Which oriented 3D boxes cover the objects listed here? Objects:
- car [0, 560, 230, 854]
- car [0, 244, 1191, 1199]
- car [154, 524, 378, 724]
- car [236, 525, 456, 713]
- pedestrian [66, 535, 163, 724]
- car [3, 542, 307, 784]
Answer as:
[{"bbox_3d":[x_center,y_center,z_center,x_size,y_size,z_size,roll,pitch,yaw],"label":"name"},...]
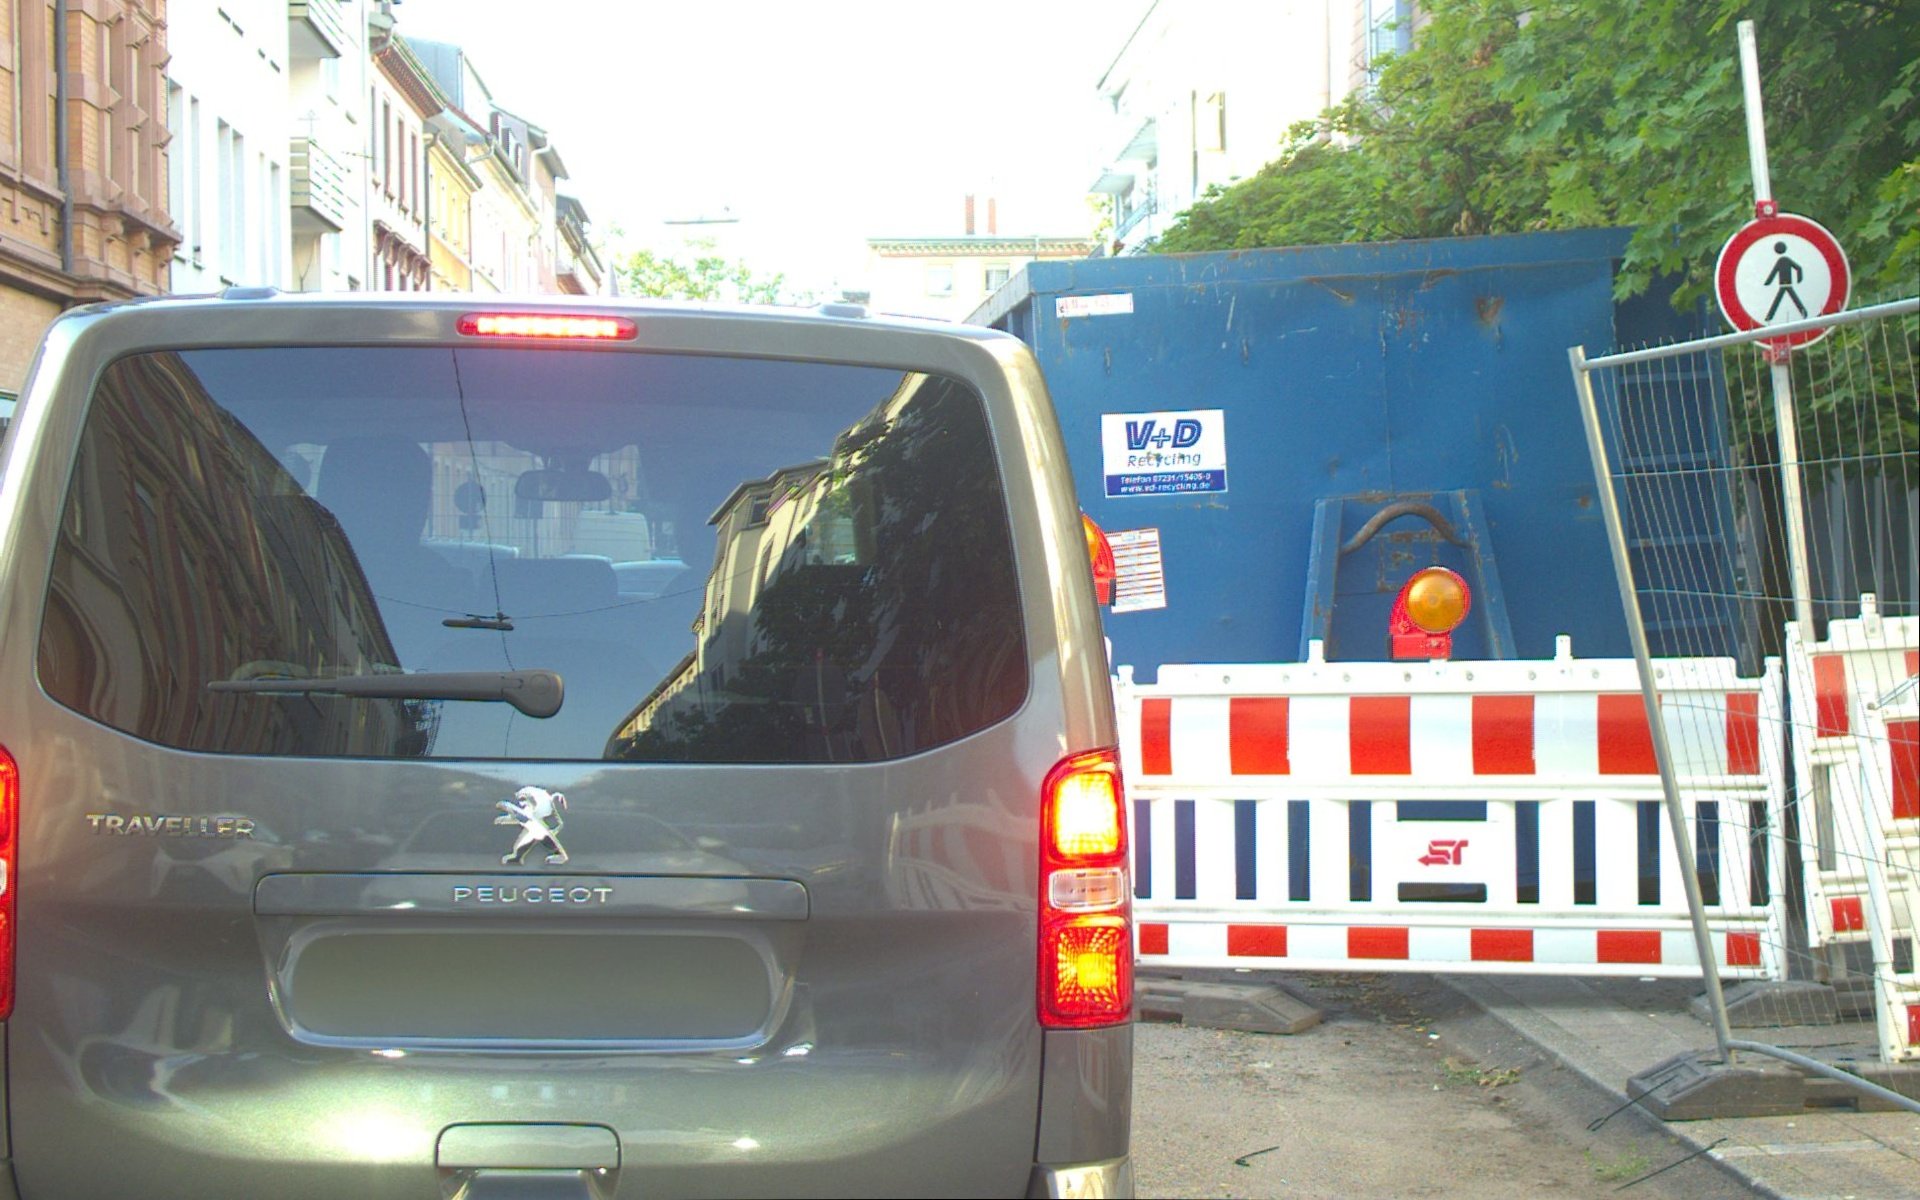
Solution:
[{"bbox_3d":[-5.191,0.527,19.484,1.655,1.455,3.419,4,0,-7],"label":"car"},{"bbox_3d":[-0.851,0.457,6.720,1.865,1.880,4.236,0,0,-7],"label":"car"},{"bbox_3d":[-6.381,0.204,31.875,1.666,1.660,3.092,4,0,-7],"label":"car"},{"bbox_3d":[-6.280,0.177,35.519,1.891,1.714,3.755,4,0,-7],"label":"car"},{"bbox_3d":[-7.583,0.254,30.855,0.739,1.659,0.704,-1,1,-7],"label":"pedestrian"},{"bbox_3d":[-5.724,0.416,24.793,1.655,1.520,3.419,4,0,-7],"label":"car"}]
